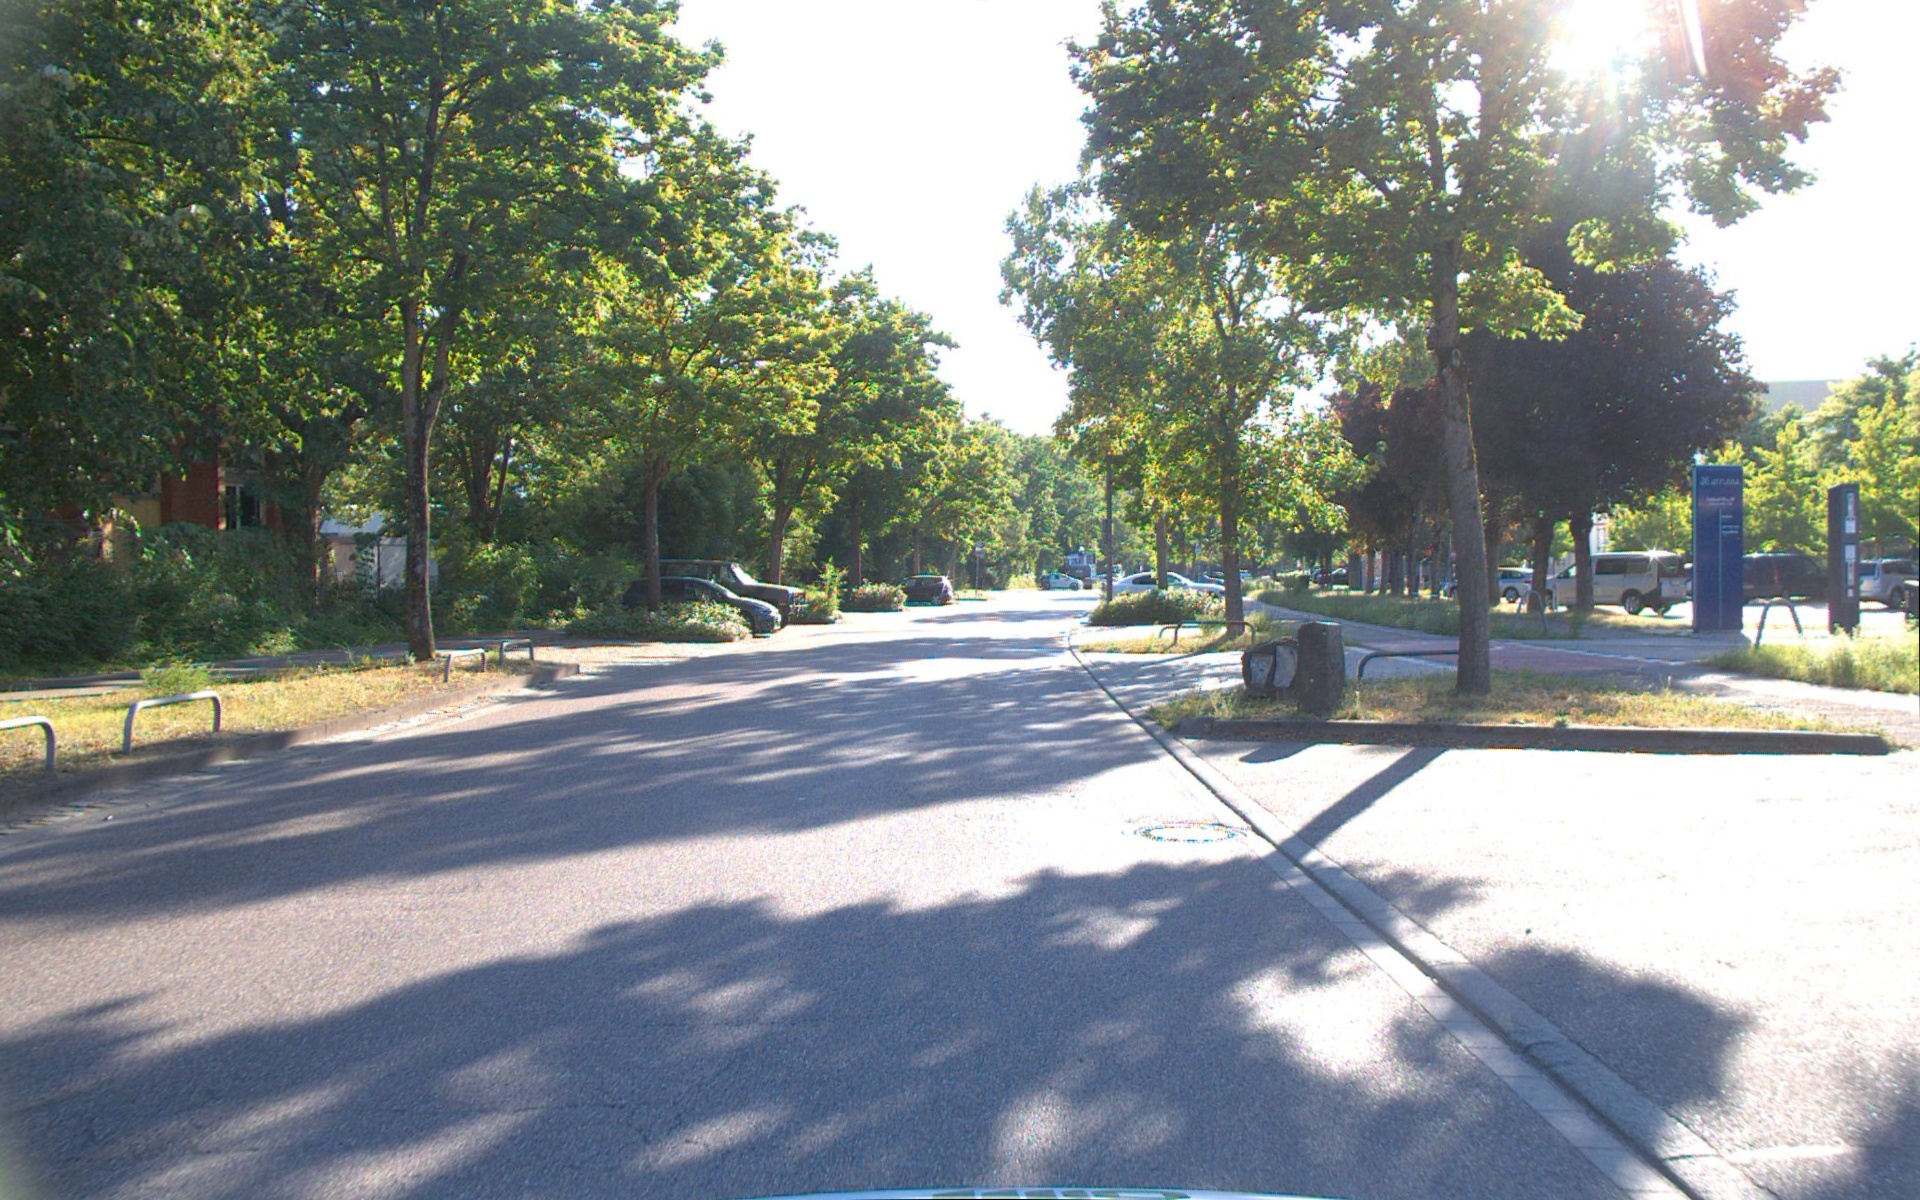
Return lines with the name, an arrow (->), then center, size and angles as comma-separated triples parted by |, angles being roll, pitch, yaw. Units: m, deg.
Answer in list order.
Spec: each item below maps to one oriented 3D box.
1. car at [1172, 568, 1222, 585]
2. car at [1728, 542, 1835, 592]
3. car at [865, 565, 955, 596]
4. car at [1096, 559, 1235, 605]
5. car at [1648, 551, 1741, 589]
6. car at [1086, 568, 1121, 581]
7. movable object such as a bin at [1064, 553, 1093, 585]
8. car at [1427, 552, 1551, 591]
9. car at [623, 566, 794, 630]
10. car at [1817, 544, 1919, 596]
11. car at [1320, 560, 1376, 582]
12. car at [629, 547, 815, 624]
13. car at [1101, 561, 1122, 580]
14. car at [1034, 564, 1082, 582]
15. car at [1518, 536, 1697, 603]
car -> 23.456, -2.330, 163.709 | 4.738, 1.505, 2.002 | -1, 1, 11
car -> 31.036, -1.269, 62.444 | 4.444, 1.780, 1.746 | -2, 2, -35
car -> -2.523, -0.997, 83.982 | 4.266, 1.505, 2.002 | 1, 1, 7
car -> 7.661, -0.686, 62.156 | 5.066, 1.601, 2.159 | -1, 1, 4
car -> 32.684, -1.342, 73.577 | 4.250, 1.554, 1.748 | -2, 2, -33
car -> 18.092, -3.201, 208.867 | 4.267, 1.505, 2.001 | -1, 1, 3
movable object such as a bin -> 12.113, -3.138, 169.047 | 2.778, 3.122, 4.930 | -1, 1, 5
car -> 23.402, -1.244, 73.292 | 1.984, 1.601, 4.875 | -2, 1, -43
car -> -6.529, -0.057, 43.241 | 4.124, 1.557, 1.706 | -1, 1, 3
car -> 29.243, -0.953, 52.373 | 4.254, 1.555, 1.788 | -2, 1, -31
car -> 32.117, -2.418, 136.932 | 4.335, 1.735, 2.061 | -1, 1, 9
car -> -6.742, -0.416, 47.232 | 4.900, 2.055, 2.175 | -1, 1, 3
car -> 19.964, -3.862, 218.034 | 2.464, 2.427, 4.375 | -1, 1, 3
car -> 9.298, -2.537, 156.640 | 4.265, 1.574, 2.002 | -1, 1, 11
car -> 19.951, -0.962, 51.146 | 1.978, 1.967, 4.891 | -2, 2, -36
